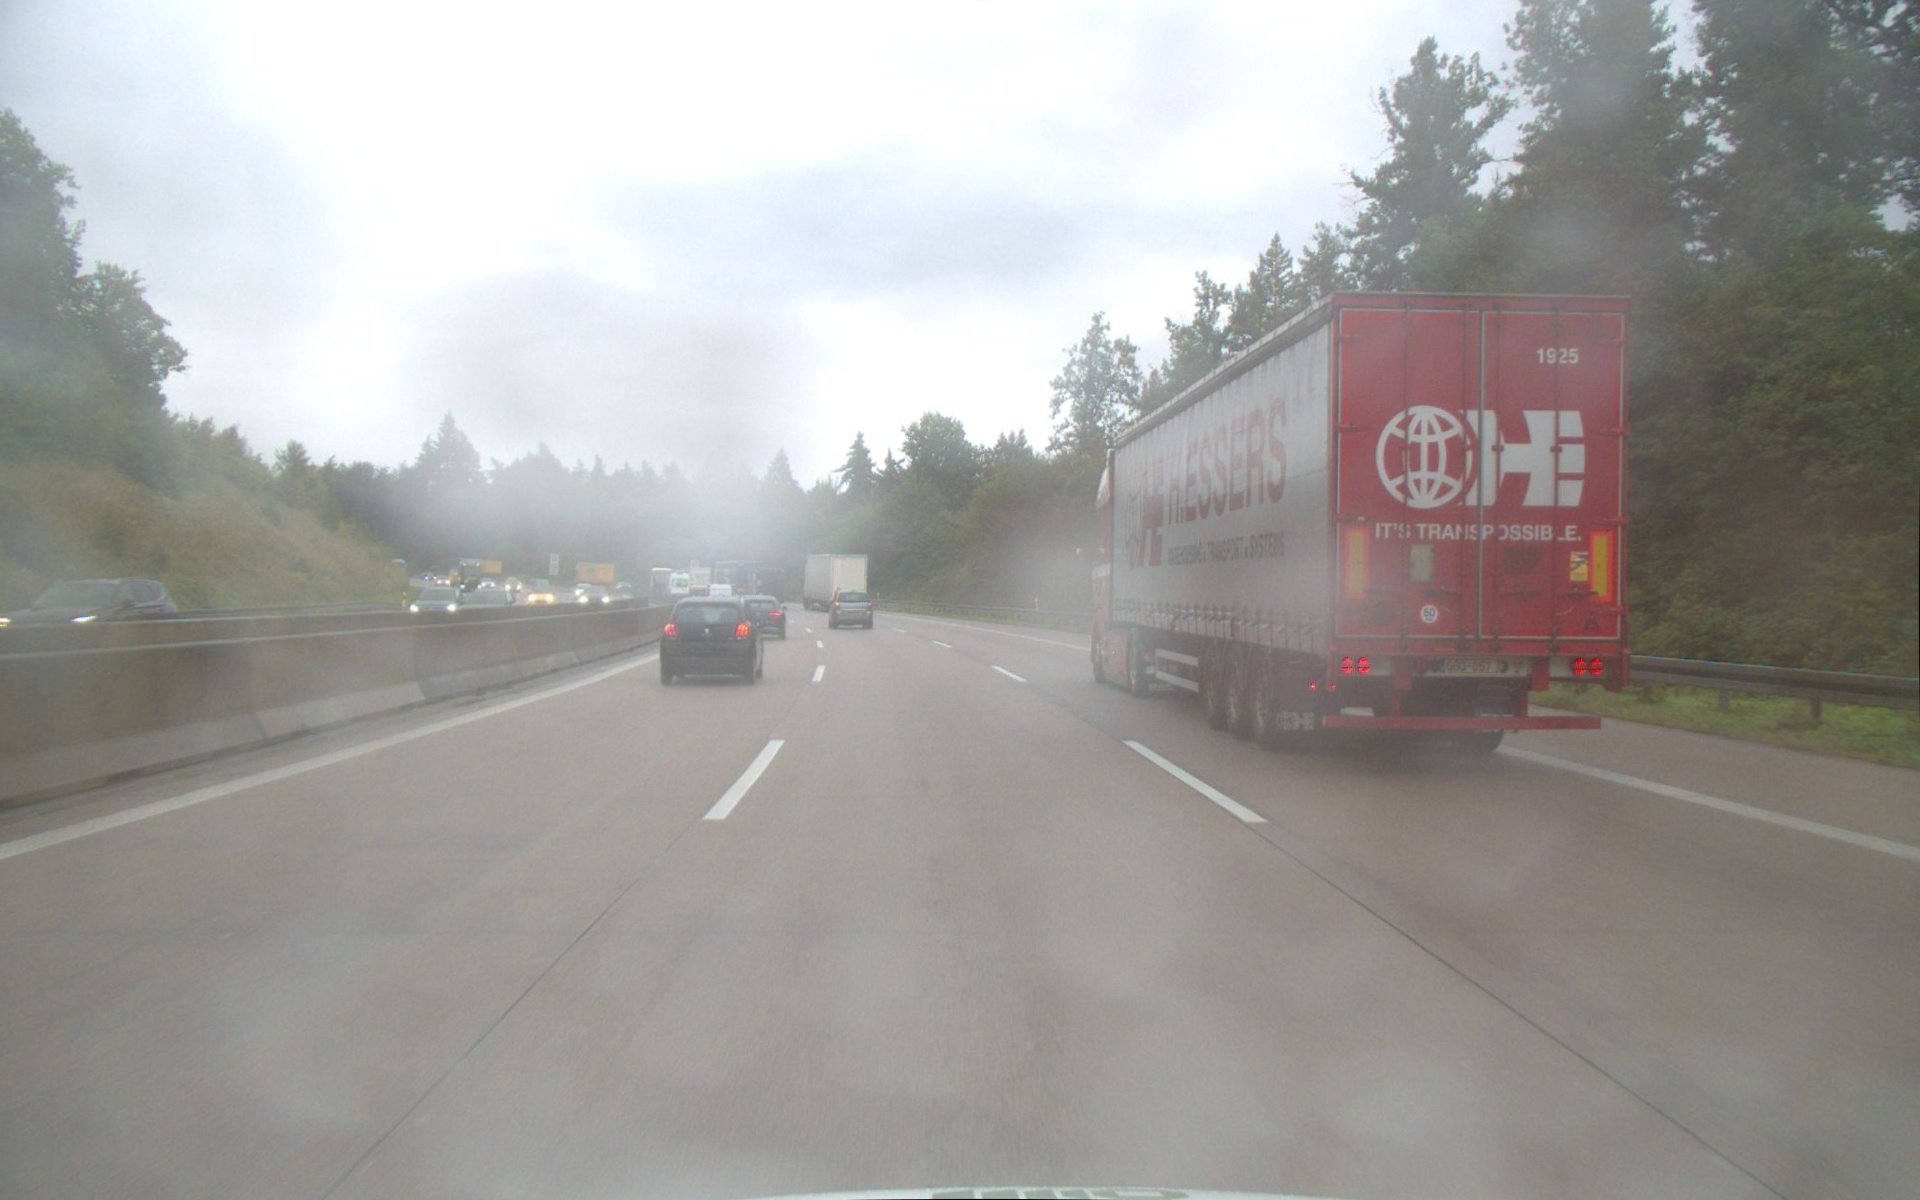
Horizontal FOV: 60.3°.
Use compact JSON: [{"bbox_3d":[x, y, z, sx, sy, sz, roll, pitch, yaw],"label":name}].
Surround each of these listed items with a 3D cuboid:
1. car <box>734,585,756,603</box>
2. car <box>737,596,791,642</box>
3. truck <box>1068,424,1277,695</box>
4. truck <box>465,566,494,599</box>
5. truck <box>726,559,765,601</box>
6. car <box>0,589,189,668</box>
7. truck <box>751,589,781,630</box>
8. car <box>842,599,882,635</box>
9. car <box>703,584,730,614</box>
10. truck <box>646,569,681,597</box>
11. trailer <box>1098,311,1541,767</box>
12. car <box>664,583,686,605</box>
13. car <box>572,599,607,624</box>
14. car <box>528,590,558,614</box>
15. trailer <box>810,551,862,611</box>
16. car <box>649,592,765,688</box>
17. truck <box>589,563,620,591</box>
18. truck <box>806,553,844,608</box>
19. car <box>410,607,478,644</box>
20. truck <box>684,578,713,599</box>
[{"bbox_3d":[-19.506,-0.560,149.973,1.847,1.498,3.992,3,0,-9],"label":"car"},{"bbox_3d":[-6.407,0.597,54.362,1.523,1.375,3.680,3,0,-4],"label":"car"},{"bbox_3d":[3.378,-0.602,27.767,2.328,4.023,6.155,1,0,-4],"label":"truck"},{"bbox_3d":[-58.925,-2.118,203.007,2.876,4.030,8.093,0,0,-12],"label":"truck"},{"bbox_3d":[-22.429,-2.081,172.369,3.309,4.203,10.410,1,1,-11],"label":"truck"},{"bbox_3d":[-16.574,0.493,31.405,1.769,1.370,4.764,1,0,-3],"label":"car"},{"bbox_3d":[-15.539,0.712,132.656,2.226,2.937,7.893,1,1,-6],"label":"truck"},{"bbox_3d":[-4.167,0.713,70.591,1.522,1.375,3.682,3,0,-2],"label":"car"},{"bbox_3d":[-16.861,-0.057,114.339,1.694,2.049,3.647,0,0,-11],"label":"car"},{"bbox_3d":[-34.057,-1.987,189.917,3.034,2.956,7.866,1,1,-17],"label":"truck"},{"bbox_3d":[3.731,-0.556,20.968,2.323,4.023,12.514,1,0,-3],"label":"trailer"},{"bbox_3d":[-27.316,-0.579,158.446,1.958,2.095,3.989,0,0,-12],"label":"car"},{"bbox_3d":[-23.854,0.705,106.599,1.829,1.575,3.993,0,0,-8],"label":"car"},{"bbox_3d":[-27.779,0.128,110.320,1.545,1.513,4.275,0,1,-8],"label":"car"},{"bbox_3d":[-9.077,-1.424,119.945,2.376,4.139,12.025,1,1,-10],"label":"trailer"},{"bbox_3d":[-4.348,0.649,28.867,1.651,1.487,3.681,3,0,-4],"label":"car"},{"bbox_3d":[-54.836,-3.514,254.841,3.687,4.283,6.774,0,0,-21],"label":"truck"},{"bbox_3d":[-10.388,-1.520,127.057,2.376,4.139,4.966,1,1,-10],"label":"truck"},{"bbox_3d":[-20.493,1.008,65.824,1.621,1.370,4.083,1,0,-4],"label":"car"},{"bbox_3d":[-32.103,-1.412,203.100,2.924,2.349,6.644,3,0,-13],"label":"truck"}]
